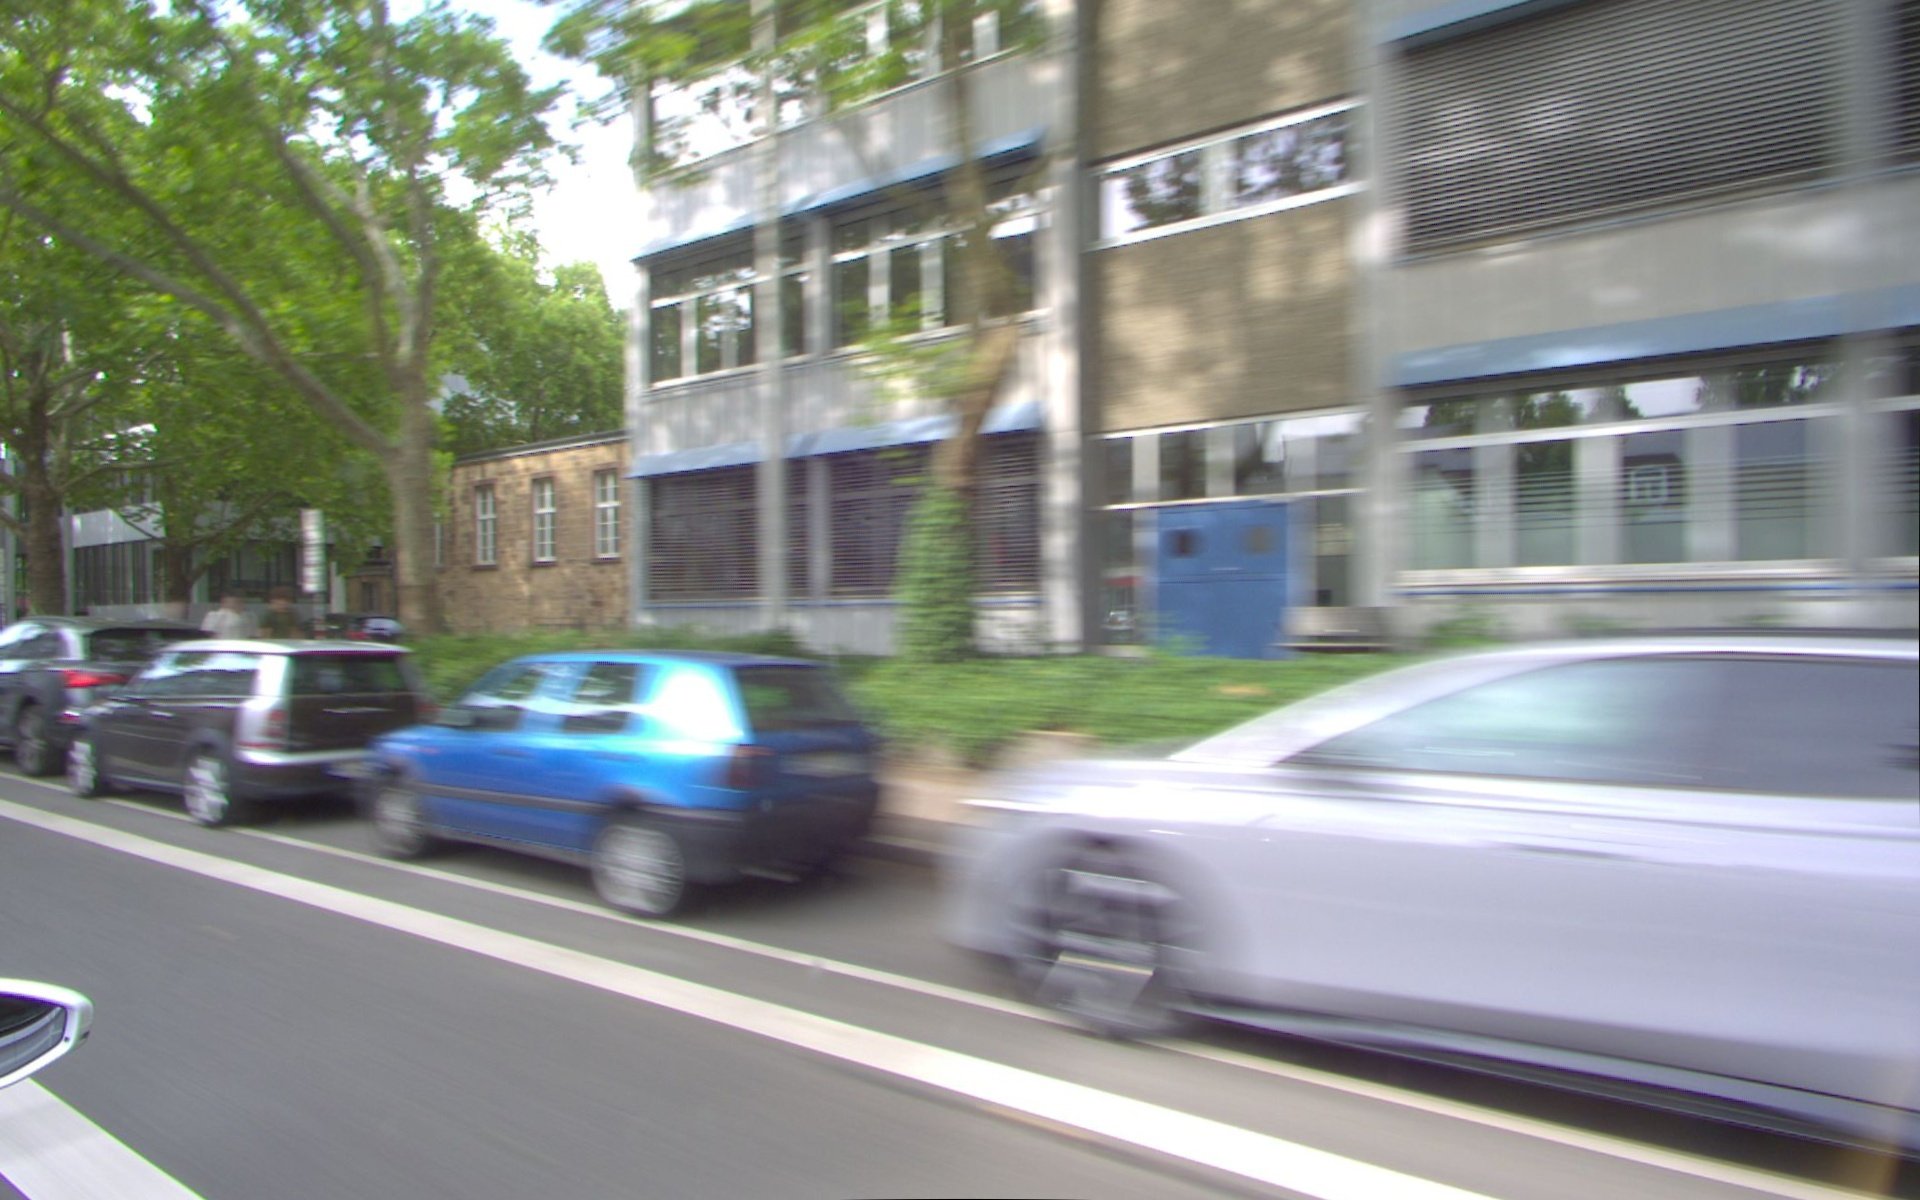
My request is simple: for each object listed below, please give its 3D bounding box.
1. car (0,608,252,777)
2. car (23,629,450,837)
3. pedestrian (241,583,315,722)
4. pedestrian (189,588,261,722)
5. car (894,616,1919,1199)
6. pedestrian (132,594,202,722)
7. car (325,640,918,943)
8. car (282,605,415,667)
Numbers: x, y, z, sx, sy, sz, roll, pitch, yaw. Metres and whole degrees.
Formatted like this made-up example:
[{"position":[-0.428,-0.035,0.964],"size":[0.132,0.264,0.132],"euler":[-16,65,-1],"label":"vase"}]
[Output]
[{"position":[-10.344,0.968,11.698],"size":[4.437,1.661,1.667],"euler":[0,-3,31],"label":"car"},{"position":[-6.645,1.014,9.075],"size":[4.254,1.489,1.627],"euler":[-1,-1,31],"label":"car"},{"position":[-10.149,0.772,14.908],"size":[0.682,2.001,0.641],"euler":[2,-1,33],"label":"pedestrian"},{"position":[-10.574,0.774,14.411],"size":[0.682,1.862,0.586],"euler":[2,-1,33],"label":"pedestrian"},{"position":[2.219,0.845,3.619],"size":[4.800,1.536,1.725],"euler":[-1,-2,31],"label":"car"},{"position":[-11.023,0.795,13.923],"size":[0.501,1.724,0.586],"euler":[2,-1,33],"label":"pedestrian"},{"position":[-2.354,1.017,6.618],"size":[3.944,1.403,1.619],"euler":[-1,-3,34],"label":"car"},{"position":[-16.431,0.933,26.863],"size":[3.860,1.477,1.469],"euler":[1,-1,32],"label":"car"}]
